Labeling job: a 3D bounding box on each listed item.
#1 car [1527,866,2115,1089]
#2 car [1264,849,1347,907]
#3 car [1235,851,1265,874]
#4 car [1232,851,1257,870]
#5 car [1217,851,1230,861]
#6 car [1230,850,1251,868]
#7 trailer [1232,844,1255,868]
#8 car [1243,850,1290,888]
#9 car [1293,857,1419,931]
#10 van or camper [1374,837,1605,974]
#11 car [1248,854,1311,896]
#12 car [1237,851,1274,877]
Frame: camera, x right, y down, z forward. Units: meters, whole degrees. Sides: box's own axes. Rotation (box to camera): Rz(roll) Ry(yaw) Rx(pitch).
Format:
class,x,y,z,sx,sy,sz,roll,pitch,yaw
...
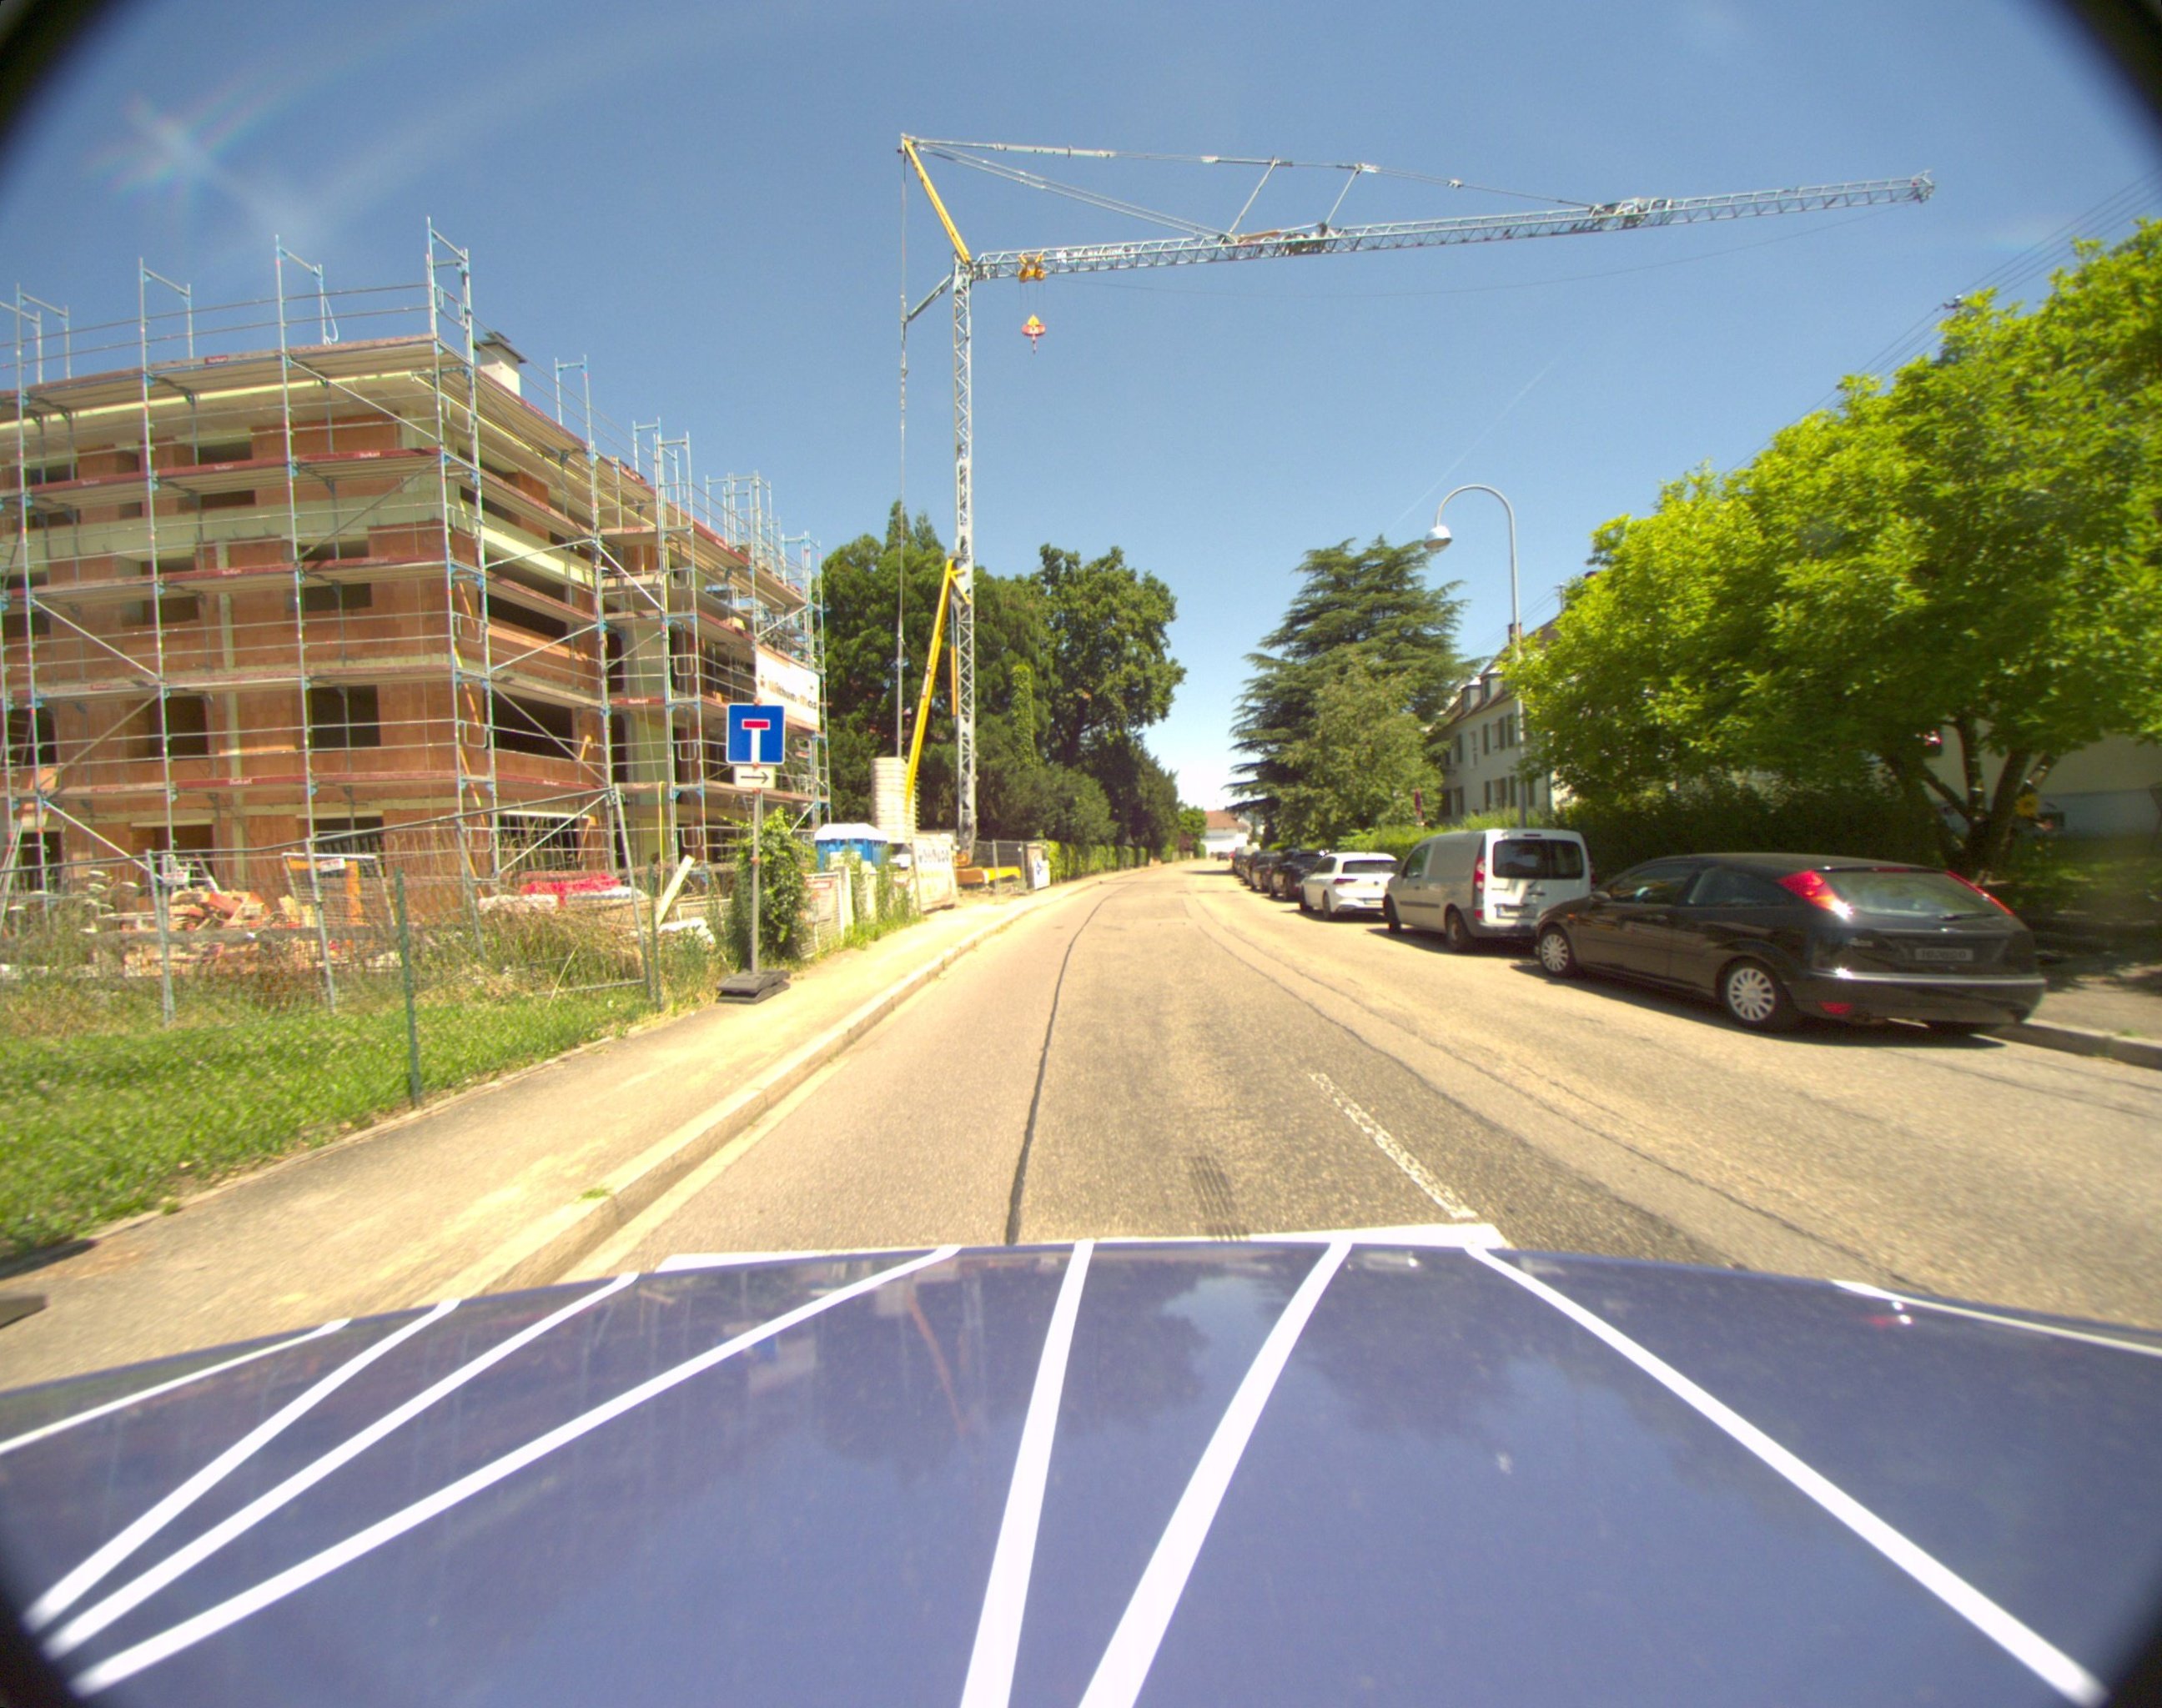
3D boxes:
class,x,y,z,sx,sy,sz,roll,pitch,yaw
car,6.093,0.860,7.048,1.685,1.404,3.926,0,0,2
car,6.891,0.675,23.781,1.684,1.627,4.332,0,0,5
car,10.949,0.534,49.450,1.799,1.434,4.275,0,0,11
car,12.922,0.511,60.194,1.799,1.434,4.480,0,0,11
car,22.927,0.358,122.414,1.902,1.565,4.144,-1,0,10
car,14.819,0.445,70.776,1.771,1.610,4.552,0,0,11
trailer,14.208,0.122,66.484,1.817,2.021,4.003,1,1,10
car,8.324,0.620,34.317,1.684,1.630,3.792,0,0,8
car,6.104,0.823,17.381,1.684,1.433,4.248,0,0,5
van or camper,6.131,0.671,11.980,1.685,1.793,3.986,0,0,3
car,7.527,0.737,29.190,1.684,1.467,4.332,0,0,5
car,10.089,0.578,44.218,1.800,1.434,3.787,0,0,8
